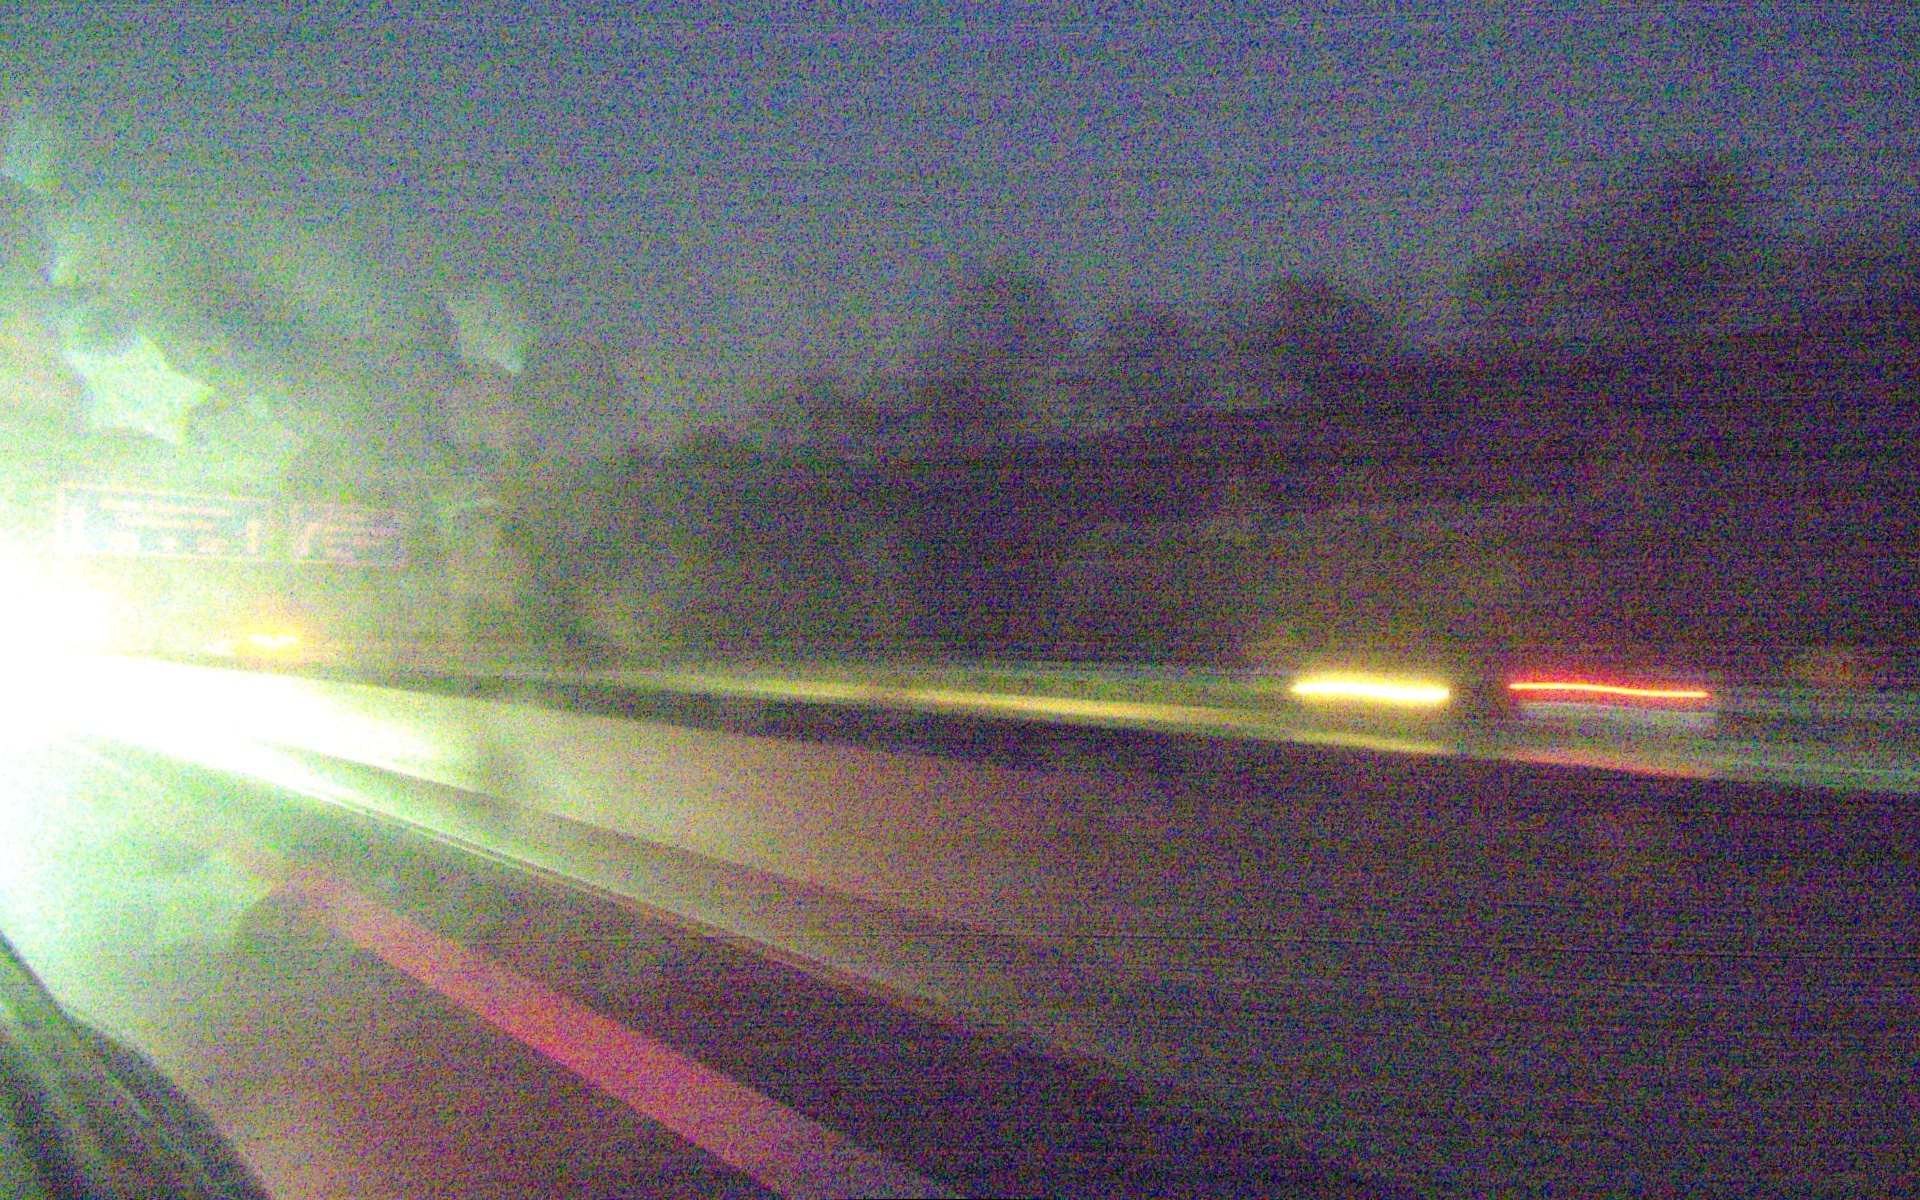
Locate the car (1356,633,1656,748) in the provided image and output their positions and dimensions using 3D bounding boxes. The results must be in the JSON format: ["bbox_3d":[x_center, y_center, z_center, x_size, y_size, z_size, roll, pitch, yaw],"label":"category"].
[{"bbox_3d":[9.369,1.456,17.544,4.244,1.727,1.972,-1,-3,41],"label":"car"}]

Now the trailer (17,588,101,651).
[{"bbox_3d":[-68.451,1.480,76.711,14.619,4.411,2.663,-1,-1,40],"label":"trailer"}]

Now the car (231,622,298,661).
[{"bbox_3d":[-38.229,2.272,55.575,4.389,2.029,1.972,-1,-2,41],"label":"car"}]
